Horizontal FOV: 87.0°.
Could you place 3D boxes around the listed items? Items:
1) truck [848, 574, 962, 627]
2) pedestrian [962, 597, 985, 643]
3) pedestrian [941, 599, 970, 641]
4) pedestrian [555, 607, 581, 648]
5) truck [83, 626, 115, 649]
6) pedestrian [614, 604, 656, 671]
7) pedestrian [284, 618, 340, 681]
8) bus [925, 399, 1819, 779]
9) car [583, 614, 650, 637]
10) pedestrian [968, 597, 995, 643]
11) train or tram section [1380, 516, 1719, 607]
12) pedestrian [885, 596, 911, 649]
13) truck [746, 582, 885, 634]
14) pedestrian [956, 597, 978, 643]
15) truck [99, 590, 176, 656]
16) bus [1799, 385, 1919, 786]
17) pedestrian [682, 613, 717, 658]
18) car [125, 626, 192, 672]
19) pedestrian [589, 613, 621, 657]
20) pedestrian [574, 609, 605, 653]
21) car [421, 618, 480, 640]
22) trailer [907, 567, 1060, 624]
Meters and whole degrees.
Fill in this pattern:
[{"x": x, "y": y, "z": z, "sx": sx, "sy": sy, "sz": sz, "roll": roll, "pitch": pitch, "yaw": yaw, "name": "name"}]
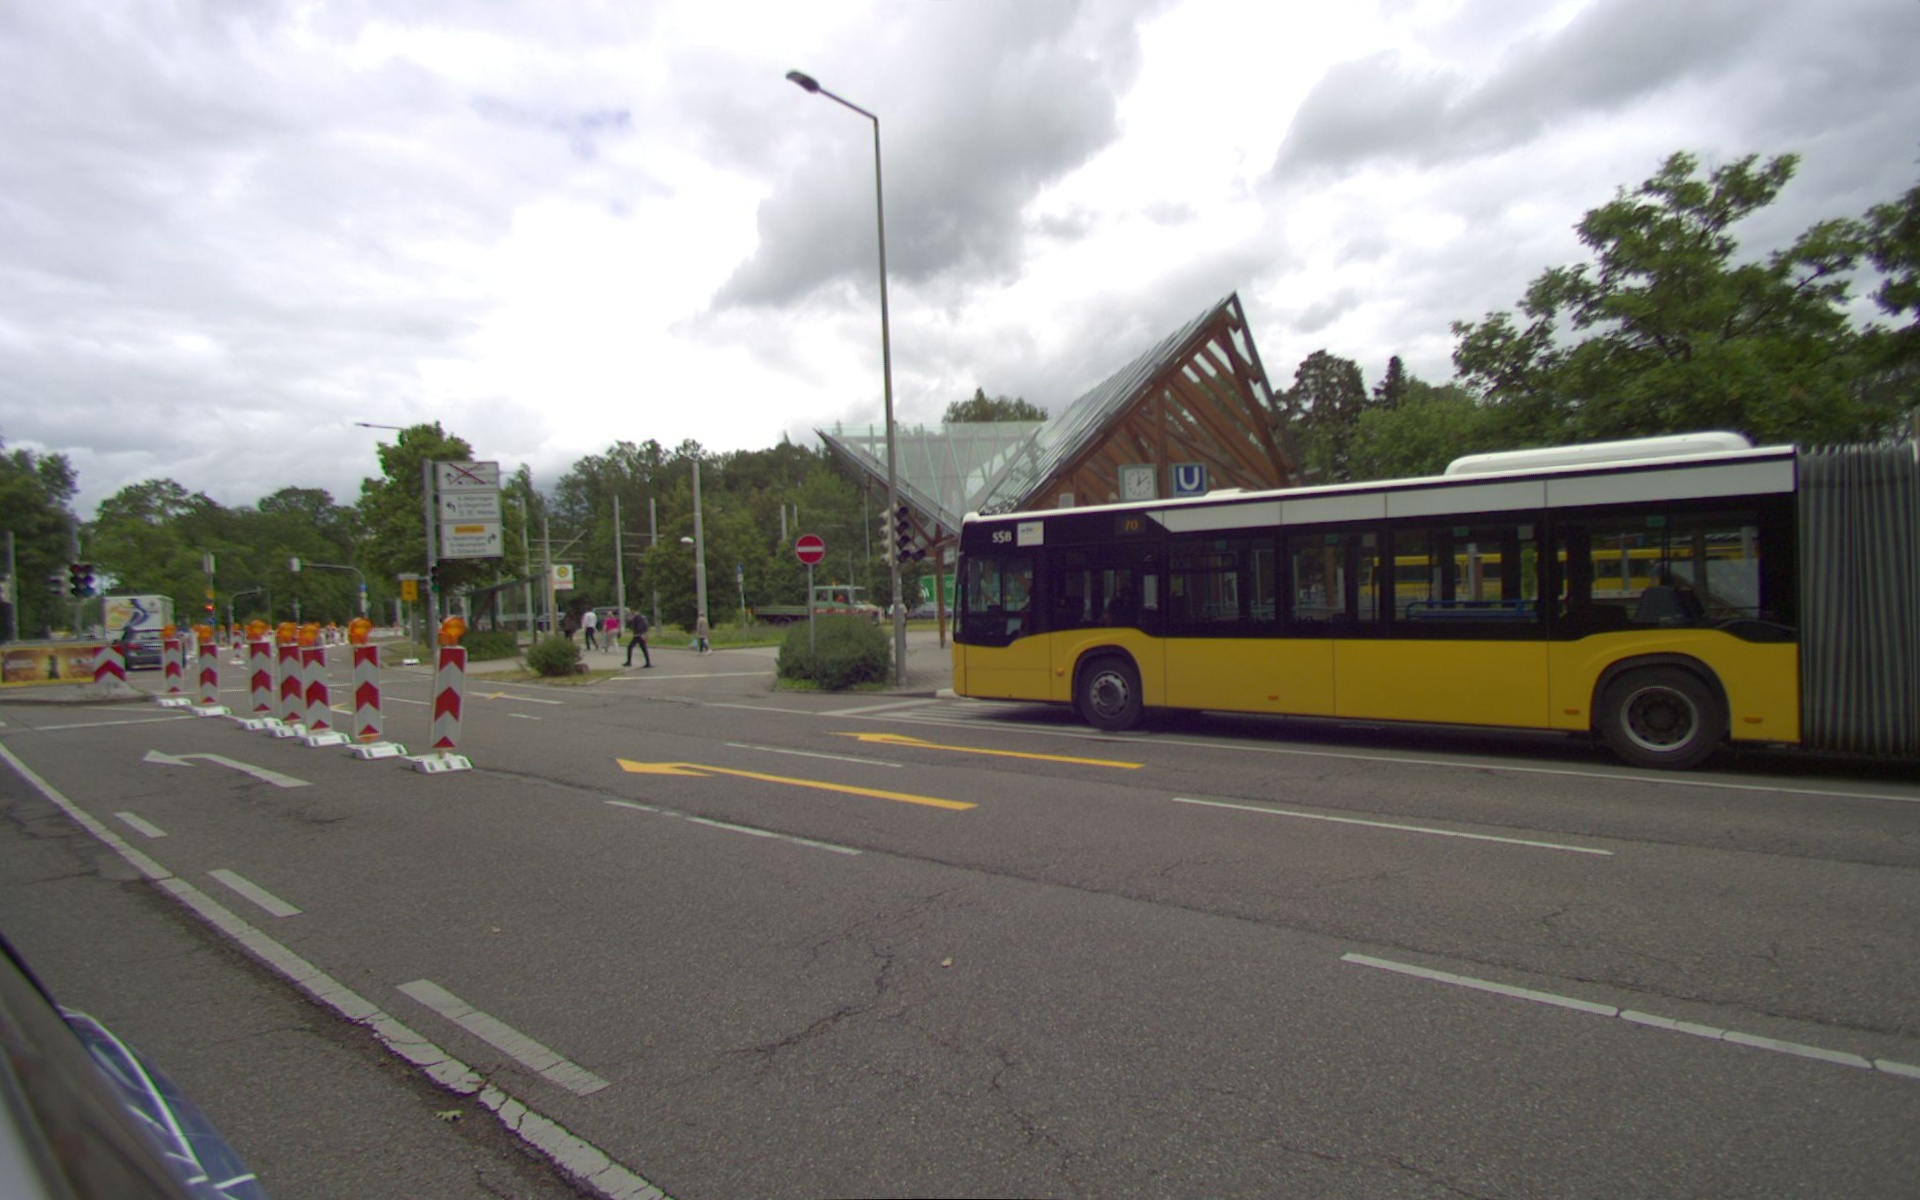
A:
[{"x": -4.624, "y": 0.015, "z": 84.971, "sx": 8.709, "sy": 3.910, "sz": 3.762, "roll": -3, "pitch": 0, "yaw": 21, "name": "truck"}, {"x": 0.478, "y": 0.724, "z": 37.221, "sx": 0.663, "sy": 1.637, "sz": 0.585, "roll": -3, "pitch": 0, "yaw": -9, "name": "pedestrian"}, {"x": -0.173, "y": 0.811, "z": 40.884, "sx": 0.773, "sy": 1.637, "sz": 0.770, "roll": -3, "pitch": 0, "yaw": -44, "name": "pedestrian"}, {"x": -15.473, "y": 1.083, "z": 39.928, "sx": 0.764, "sy": 1.557, "sz": 0.630, "roll": -3, "pitch": 2, "yaw": -38, "name": "pedestrian"}, {"x": -131.215, "y": 5.724, "z": 154.290, "sx": 2.702, "sy": 3.235, "sz": 6.692, "roll": -3, "pitch": 0, "yaw": -32, "name": "truck"}, {"x": -9.324, "y": 1.062, "z": 29.102, "sx": 0.978, "sy": 1.822, "sz": 0.768, "roll": -3, "pitch": 0, "yaw": -11, "name": "pedestrian"}, {"x": -18.030, "y": 1.362, "z": 28.167, "sx": 0.911, "sy": 1.689, "sz": 1.078, "roll": -2, "pitch": -1, "yaw": 42, "name": "pedestrian"}, {"x": 4.191, "y": 0.010, "z": 12.603, "sx": 9.749, "sy": 3.150, "sz": 2.870, "roll": -2, "pitch": -1, "yaw": 39, "name": "bus"}, {"x": -28.379, "y": 2.096, "z": 83.779, "sx": 4.848, "sy": 1.599, "sz": 1.955, "roll": -3, "pitch": 0, "yaw": 6, "name": "car"}, {"x": 0.771, "y": 0.719, "z": 36.652, "sx": 0.663, "sy": 1.637, "sz": 0.585, "roll": -3, "pitch": 0, "yaw": -34, "name": "pedestrian"}, {"x": 37.089, "y": -2.363, "z": 64.585, "sx": 18.468, "sy": 4.568, "sz": 3.578, "roll": -3, "pitch": 0, "yaw": 9, "name": "train or tram section"}, {"x": -1.933, "y": 0.692, "z": 31.441, "sx": 0.665, "sy": 1.608, "sz": 0.674, "roll": -3, "pitch": 0, "yaw": -9, "name": "pedestrian"}, {"x": -7.126, "y": 0.383, "z": 49.996, "sx": 6.259, "sy": 2.186, "sz": 2.589, "roll": -3, "pitch": 0, "yaw": 22, "name": "truck"}, {"x": 0.265, "y": 0.741, "z": 37.879, "sx": 0.663, "sy": 1.637, "sz": 0.585, "roll": -3, "pitch": 0, "yaw": -9, "name": "pedestrian"}, {"x": -43.304, "y": 1.221, "z": 53.436, "sx": 2.593, "sy": 3.263, "sz": 6.222, "roll": 0, "pitch": -2, "yaw": -34, "name": "truck"}, {"x": 11.296, "y": -0.217, "z": 6.719, "sx": 8.685, "sy": 3.150, "sz": 2.870, "roll": -2, "pitch": -1, "yaw": 39, "name": "bus"}, {"x": -9.238, "y": 1.263, "z": 35.902, "sx": 0.874, "sy": 1.536, "sz": 0.758, "roll": -3, "pitch": 0, "yaw": 38, "name": "pedestrian"}, {"x": -29.157, "y": 1.715, "z": 36.772, "sx": 1.785, "sy": 1.520, "sz": 4.315, "roll": 0, "pitch": -1, "yaw": -40, "name": "car"}, {"x": -13.249, "y": 1.302, "z": 37.745, "sx": 0.775, "sy": 1.563, "sz": 0.782, "roll": -3, "pitch": 0, "yaw": 40, "name": "pedestrian"}, {"x": -14.386, "y": 1.200, "z": 39.299, "sx": 0.866, "sy": 1.678, "sz": 0.679, "roll": -3, "pitch": 0, "yaw": 28, "name": "pedestrian"}, {"x": -48.563, "y": 2.765, "z": 96.485, "sx": 4.779, "sy": 1.829, "sz": 1.994, "roll": -3, "pitch": 0, "yaw": 9, "name": "car"}, {"x": 1.885, "y": -0.333, "z": 82.407, "sx": 11.783, "sy": 3.910, "sz": 3.762, "roll": -3, "pitch": 0, "yaw": 21, "name": "trailer"}]
